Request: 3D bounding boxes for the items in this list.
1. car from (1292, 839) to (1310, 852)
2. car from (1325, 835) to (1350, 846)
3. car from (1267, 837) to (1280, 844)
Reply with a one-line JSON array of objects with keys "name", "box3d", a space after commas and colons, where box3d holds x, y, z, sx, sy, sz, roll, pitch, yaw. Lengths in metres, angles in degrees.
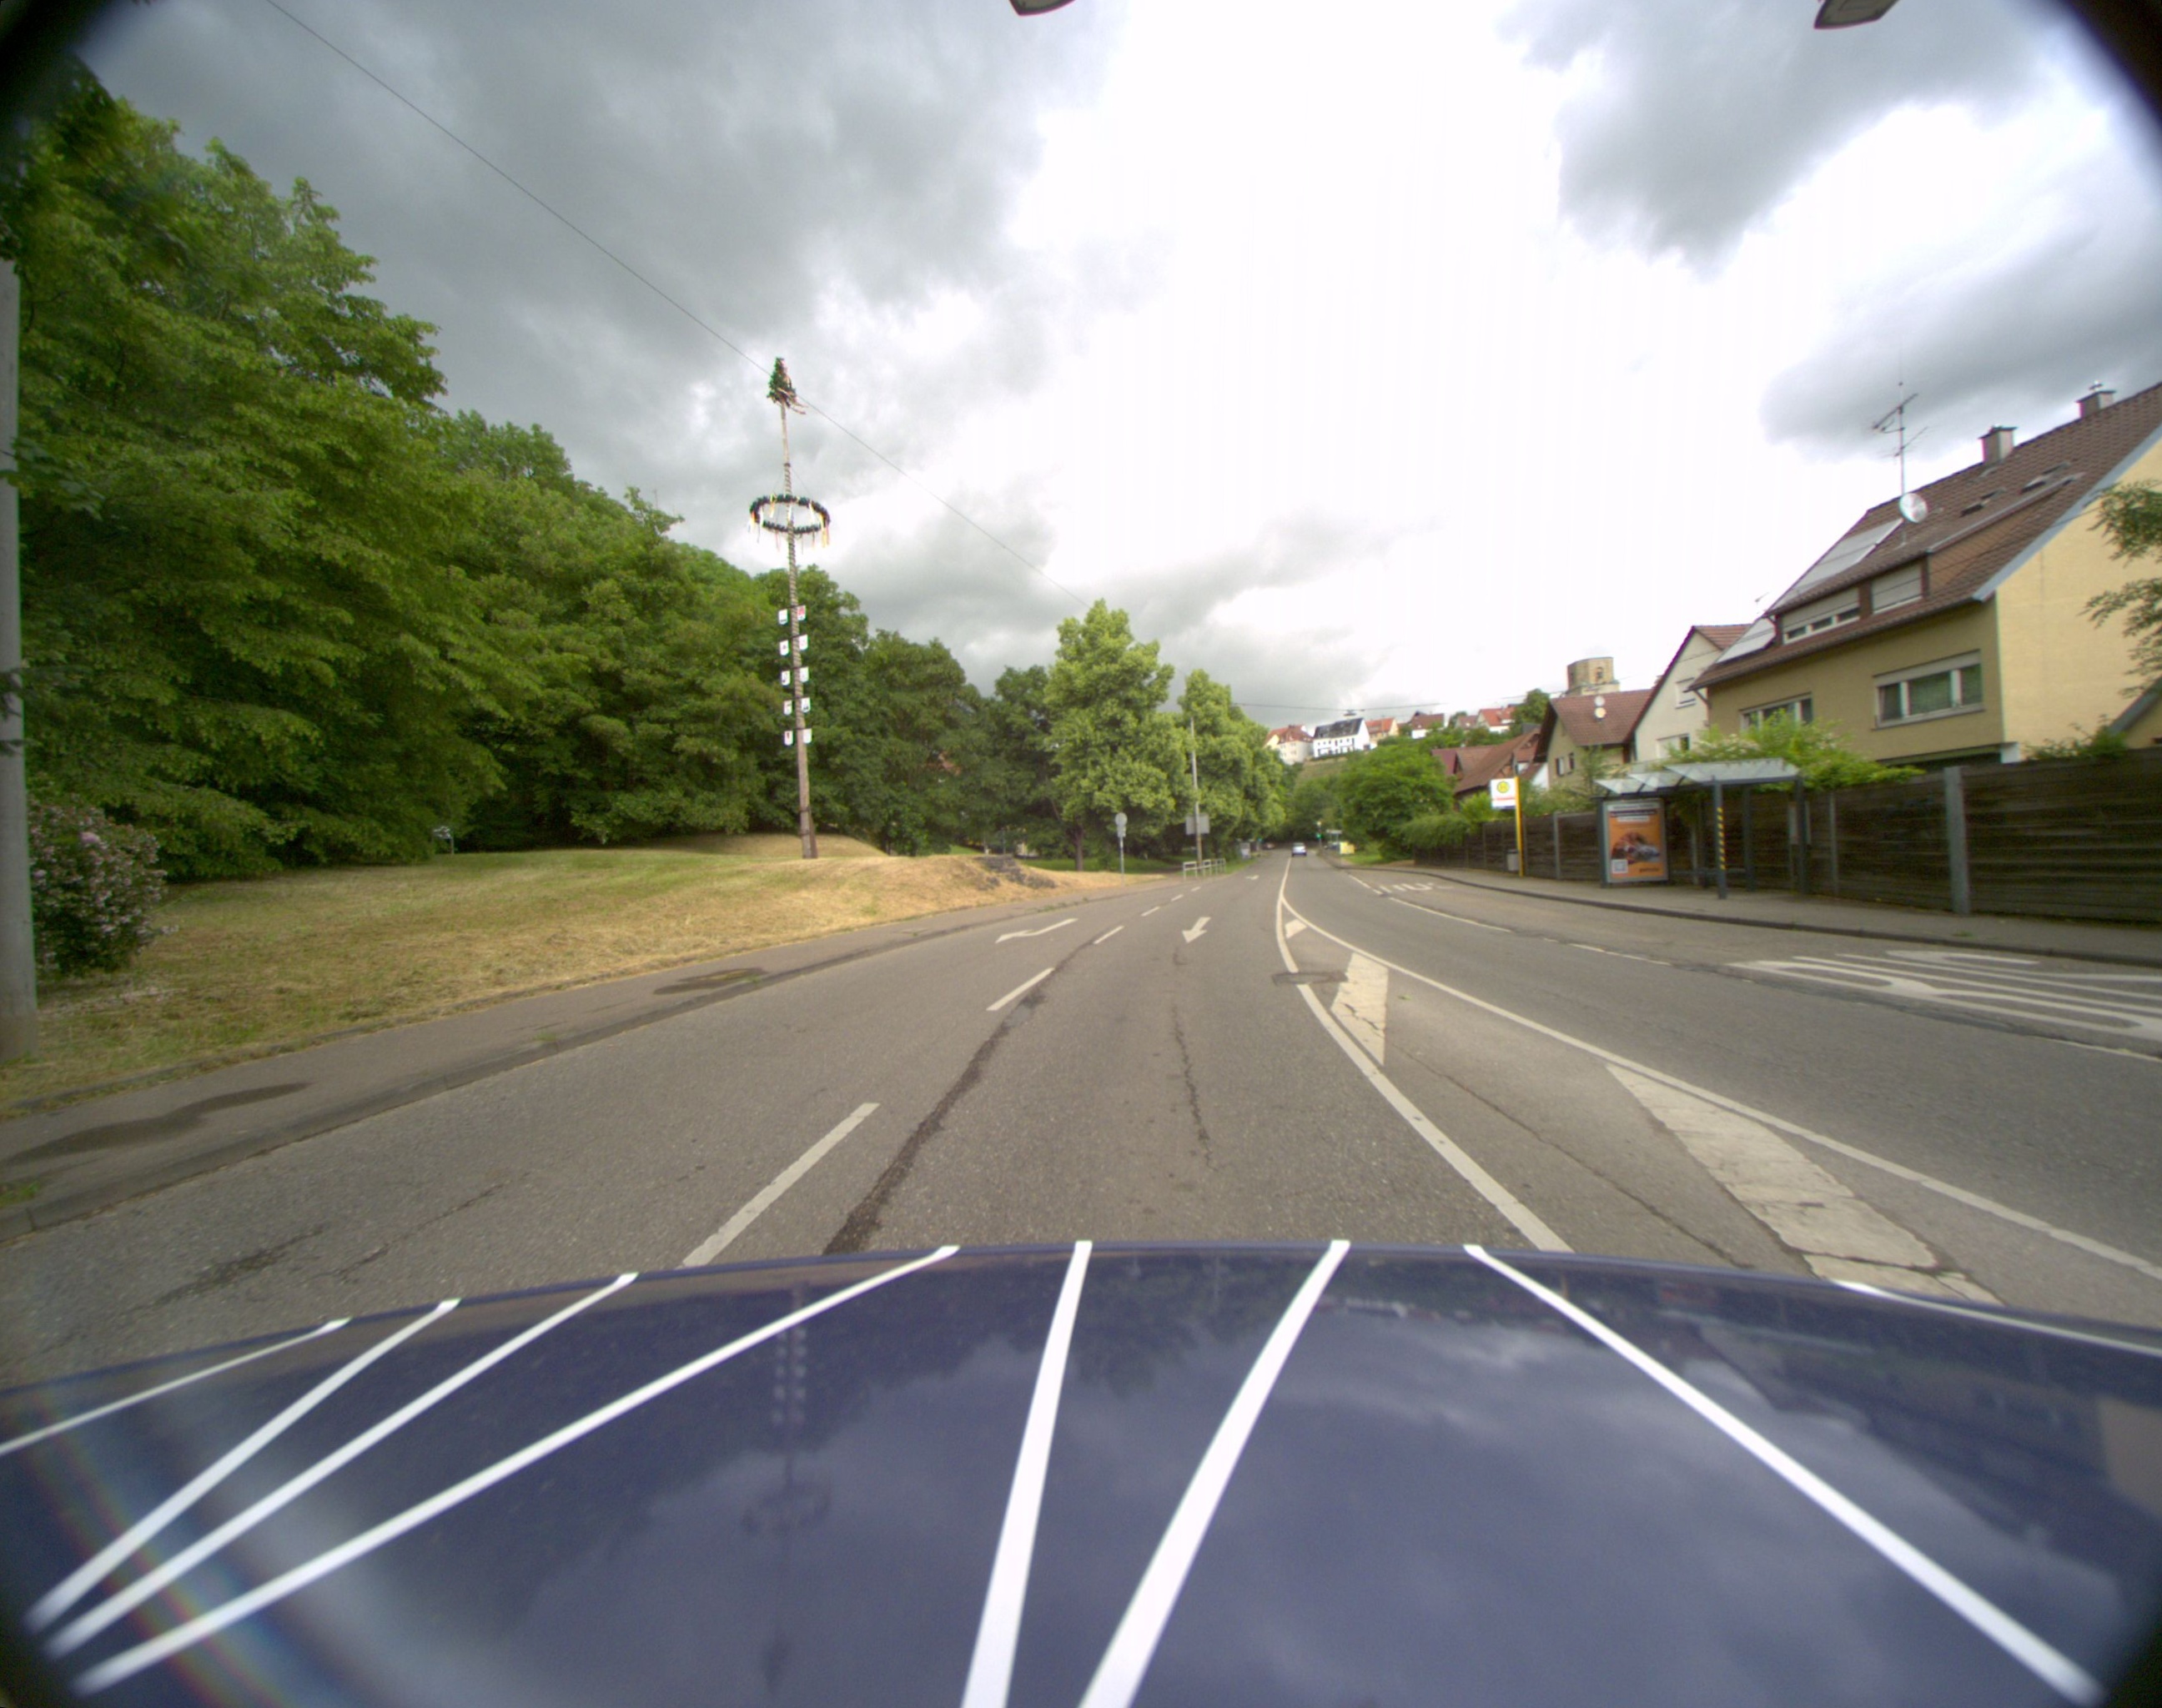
[{"name": "car", "box3d": [28.843, -1.141, 99.752, 1.997, 1.608, 4.003, -2, 0, 12]}, {"name": "car", "box3d": [41.504, -2.205, 123.102, 3.675, 1.575, 1.767, -2, 1, 21]}, {"name": "car", "box3d": [41.725, -2.934, 164.815, 1.998, 1.565, 4.001, -3, 0, 5]}]
